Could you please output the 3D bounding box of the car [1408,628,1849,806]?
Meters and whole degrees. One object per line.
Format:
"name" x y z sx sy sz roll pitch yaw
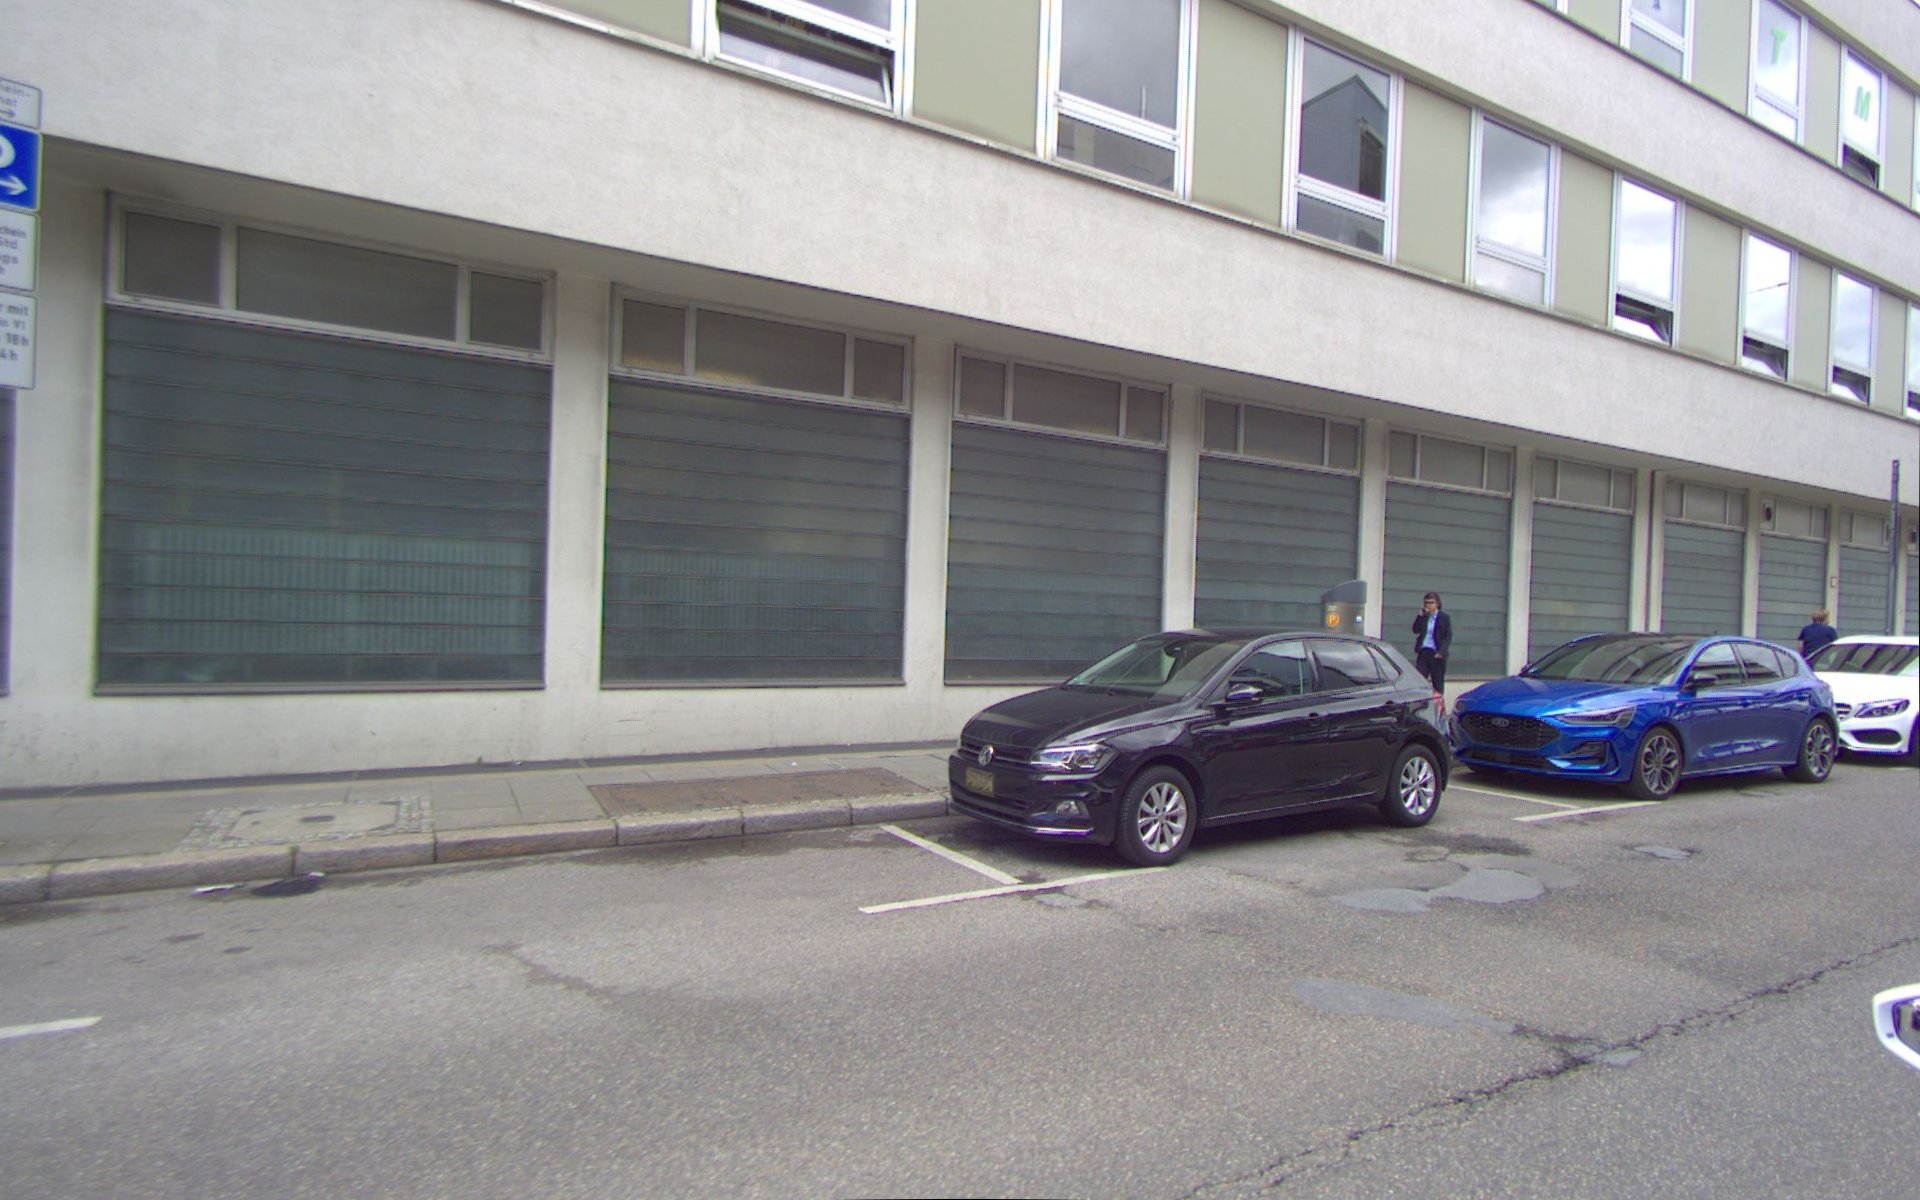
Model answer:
"car" 6.681 1.028 9.999 4.208 1.444 1.809 1 -2 -26

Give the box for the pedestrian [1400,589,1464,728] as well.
"pedestrian" 6.139 0.737 13.048 0.582 1.741 0.647 1 0 39

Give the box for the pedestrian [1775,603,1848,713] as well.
"pedestrian" 14.054 0.940 16.576 1.043 1.741 0.586 1 0 -31

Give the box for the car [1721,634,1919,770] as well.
"car" 11.720 1.180 12.638 4.494 1.453 1.664 1 -2 -27

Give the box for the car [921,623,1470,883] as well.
"car" 1.799 0.918 7.349 3.826 1.444 1.708 2 -2 -31
